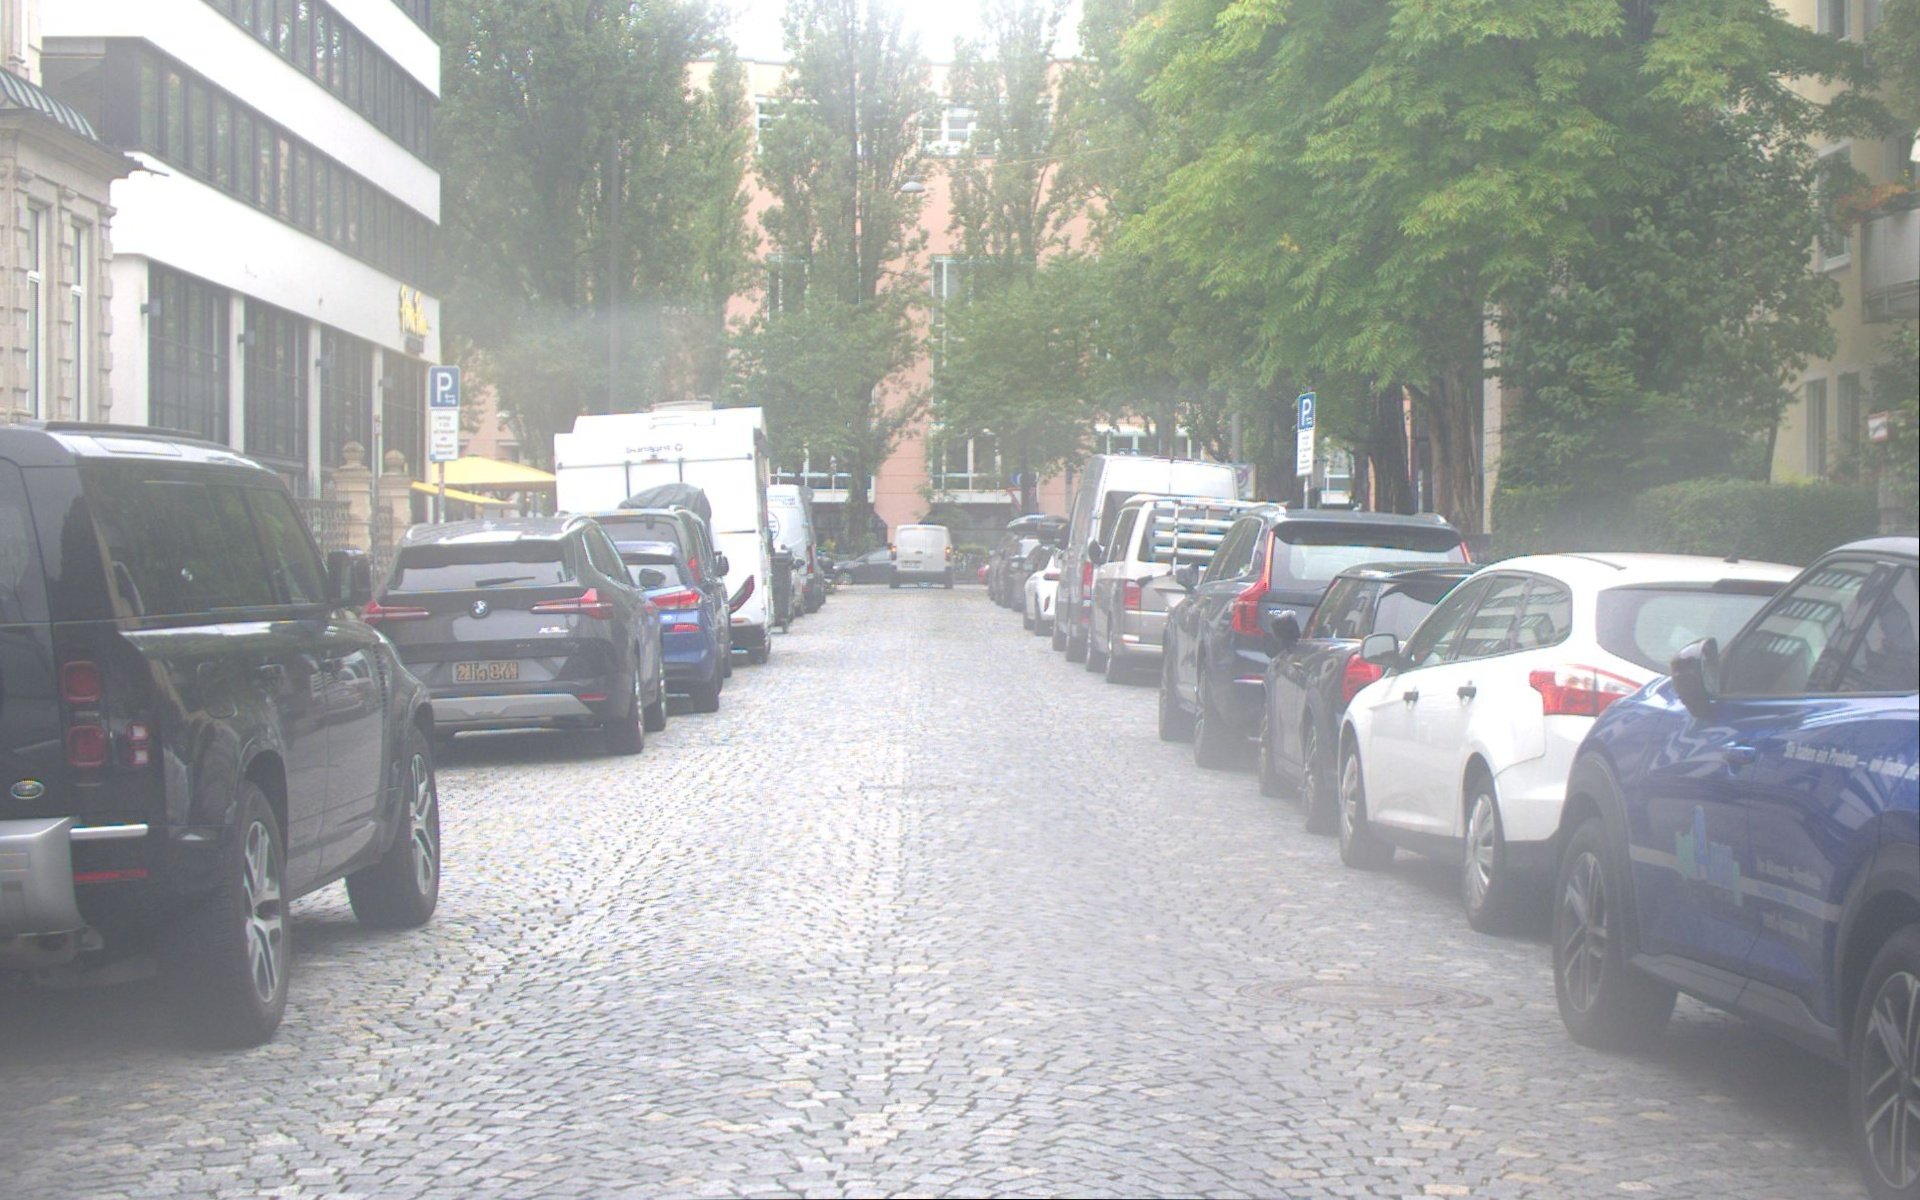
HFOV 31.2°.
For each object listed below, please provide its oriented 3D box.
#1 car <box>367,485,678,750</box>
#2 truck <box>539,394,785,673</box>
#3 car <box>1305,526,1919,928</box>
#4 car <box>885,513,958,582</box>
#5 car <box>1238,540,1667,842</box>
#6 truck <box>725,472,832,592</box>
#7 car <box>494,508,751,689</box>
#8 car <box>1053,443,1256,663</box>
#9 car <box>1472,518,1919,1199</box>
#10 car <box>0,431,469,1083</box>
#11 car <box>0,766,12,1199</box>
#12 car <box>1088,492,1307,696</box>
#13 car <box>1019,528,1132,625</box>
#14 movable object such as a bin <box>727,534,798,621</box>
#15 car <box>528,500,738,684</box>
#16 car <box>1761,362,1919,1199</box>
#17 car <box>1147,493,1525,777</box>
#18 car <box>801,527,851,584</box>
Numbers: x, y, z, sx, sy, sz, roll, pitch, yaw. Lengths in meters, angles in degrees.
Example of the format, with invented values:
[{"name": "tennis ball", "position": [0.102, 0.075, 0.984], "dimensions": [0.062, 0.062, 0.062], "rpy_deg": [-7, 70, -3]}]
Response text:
[{"name": "car", "position": [-3.043, 0.094, 24.700], "dimensions": [1.773, 1.712, 4.391], "rpy_deg": [1, 1, -2]}, {"name": "truck", "position": [-3.460, -0.814, 41.256], "dimensions": [2.508, 3.021, 6.385], "rpy_deg": [-2, 1, -2]}, {"name": "car", "position": [2.722, 0.434, 14.487], "dimensions": [1.773, 1.424, 4.392], "rpy_deg": [1, 1, -4]}, {"name": "car", "position": [-1.082, -1.497, 99.144], "dimensions": [1.996, 1.929, 4.000], "rpy_deg": [0, 1, 1]}, {"name": "car", "position": [2.629, 0.432, 19.191], "dimensions": [1.683, 1.448, 3.966], "rpy_deg": [2, 1, -1]}, {"name": "truck", "position": [-3.663, -1.373, 70.061], "dimensions": [1.993, 2.338, 4.068], "rpy_deg": [1, 1, -1]}, {"name": "car", "position": [-2.875, -0.032, 30.068], "dimensions": [1.940, 1.454, 4.058], "rpy_deg": [1, 1, -2]}, {"name": "car", "position": [2.328, -0.623, 42.638], "dimensions": [1.895, 2.418, 5.612], "rpy_deg": [4, 1, -1]}, {"name": "car", "position": [2.663, 0.586, 9.073], "dimensions": [1.708, 1.477, 4.250], "rpy_deg": [3, 1, -3]}, {"name": "car", "position": [-2.990, 0.352, 11.516], "dimensions": [1.982, 1.731, 4.723], "rpy_deg": [1, 1, 0]}, {"name": "car", "position": [-3.043, 0.621, 5.940], "dimensions": [1.579, 1.584, 4.056], "rpy_deg": [-2, 0, 1]}, {"name": "car", "position": [2.470, -0.089, 36.880], "dimensions": [1.800, 1.943, 4.861], "rpy_deg": [3, 1, -1]}, {"name": "car", "position": [1.832, -0.388, 55.193], "dimensions": [1.599, 1.481, 3.479], "rpy_deg": [1, 1, -1]}, {"name": "movable object such as a bin", "position": [-3.147, -0.362, 54.889], "dimensions": [1.064, 1.359, 1.290], "rpy_deg": [1, 1, -1]}, {"name": "car", "position": [-3.272, -0.120, 35.076], "dimensions": [1.894, 1.745, 4.168], "rpy_deg": [0, 1, -2]}, {"name": "car", "position": [2.558, 0.487, 3.602], "dimensions": [1.875, 1.667, 5.491], "rpy_deg": [1, 1, -3]}, {"name": "car", "position": [2.490, 0.195, 24.011], "dimensions": [1.963, 1.753, 4.954], "rpy_deg": [1, 1, -1]}, {"name": "car", "position": [-3.727, -1.239, 95.880], "dimensions": [1.276, 1.536, 3.119], "rpy_deg": [1, 1, -1]}]
